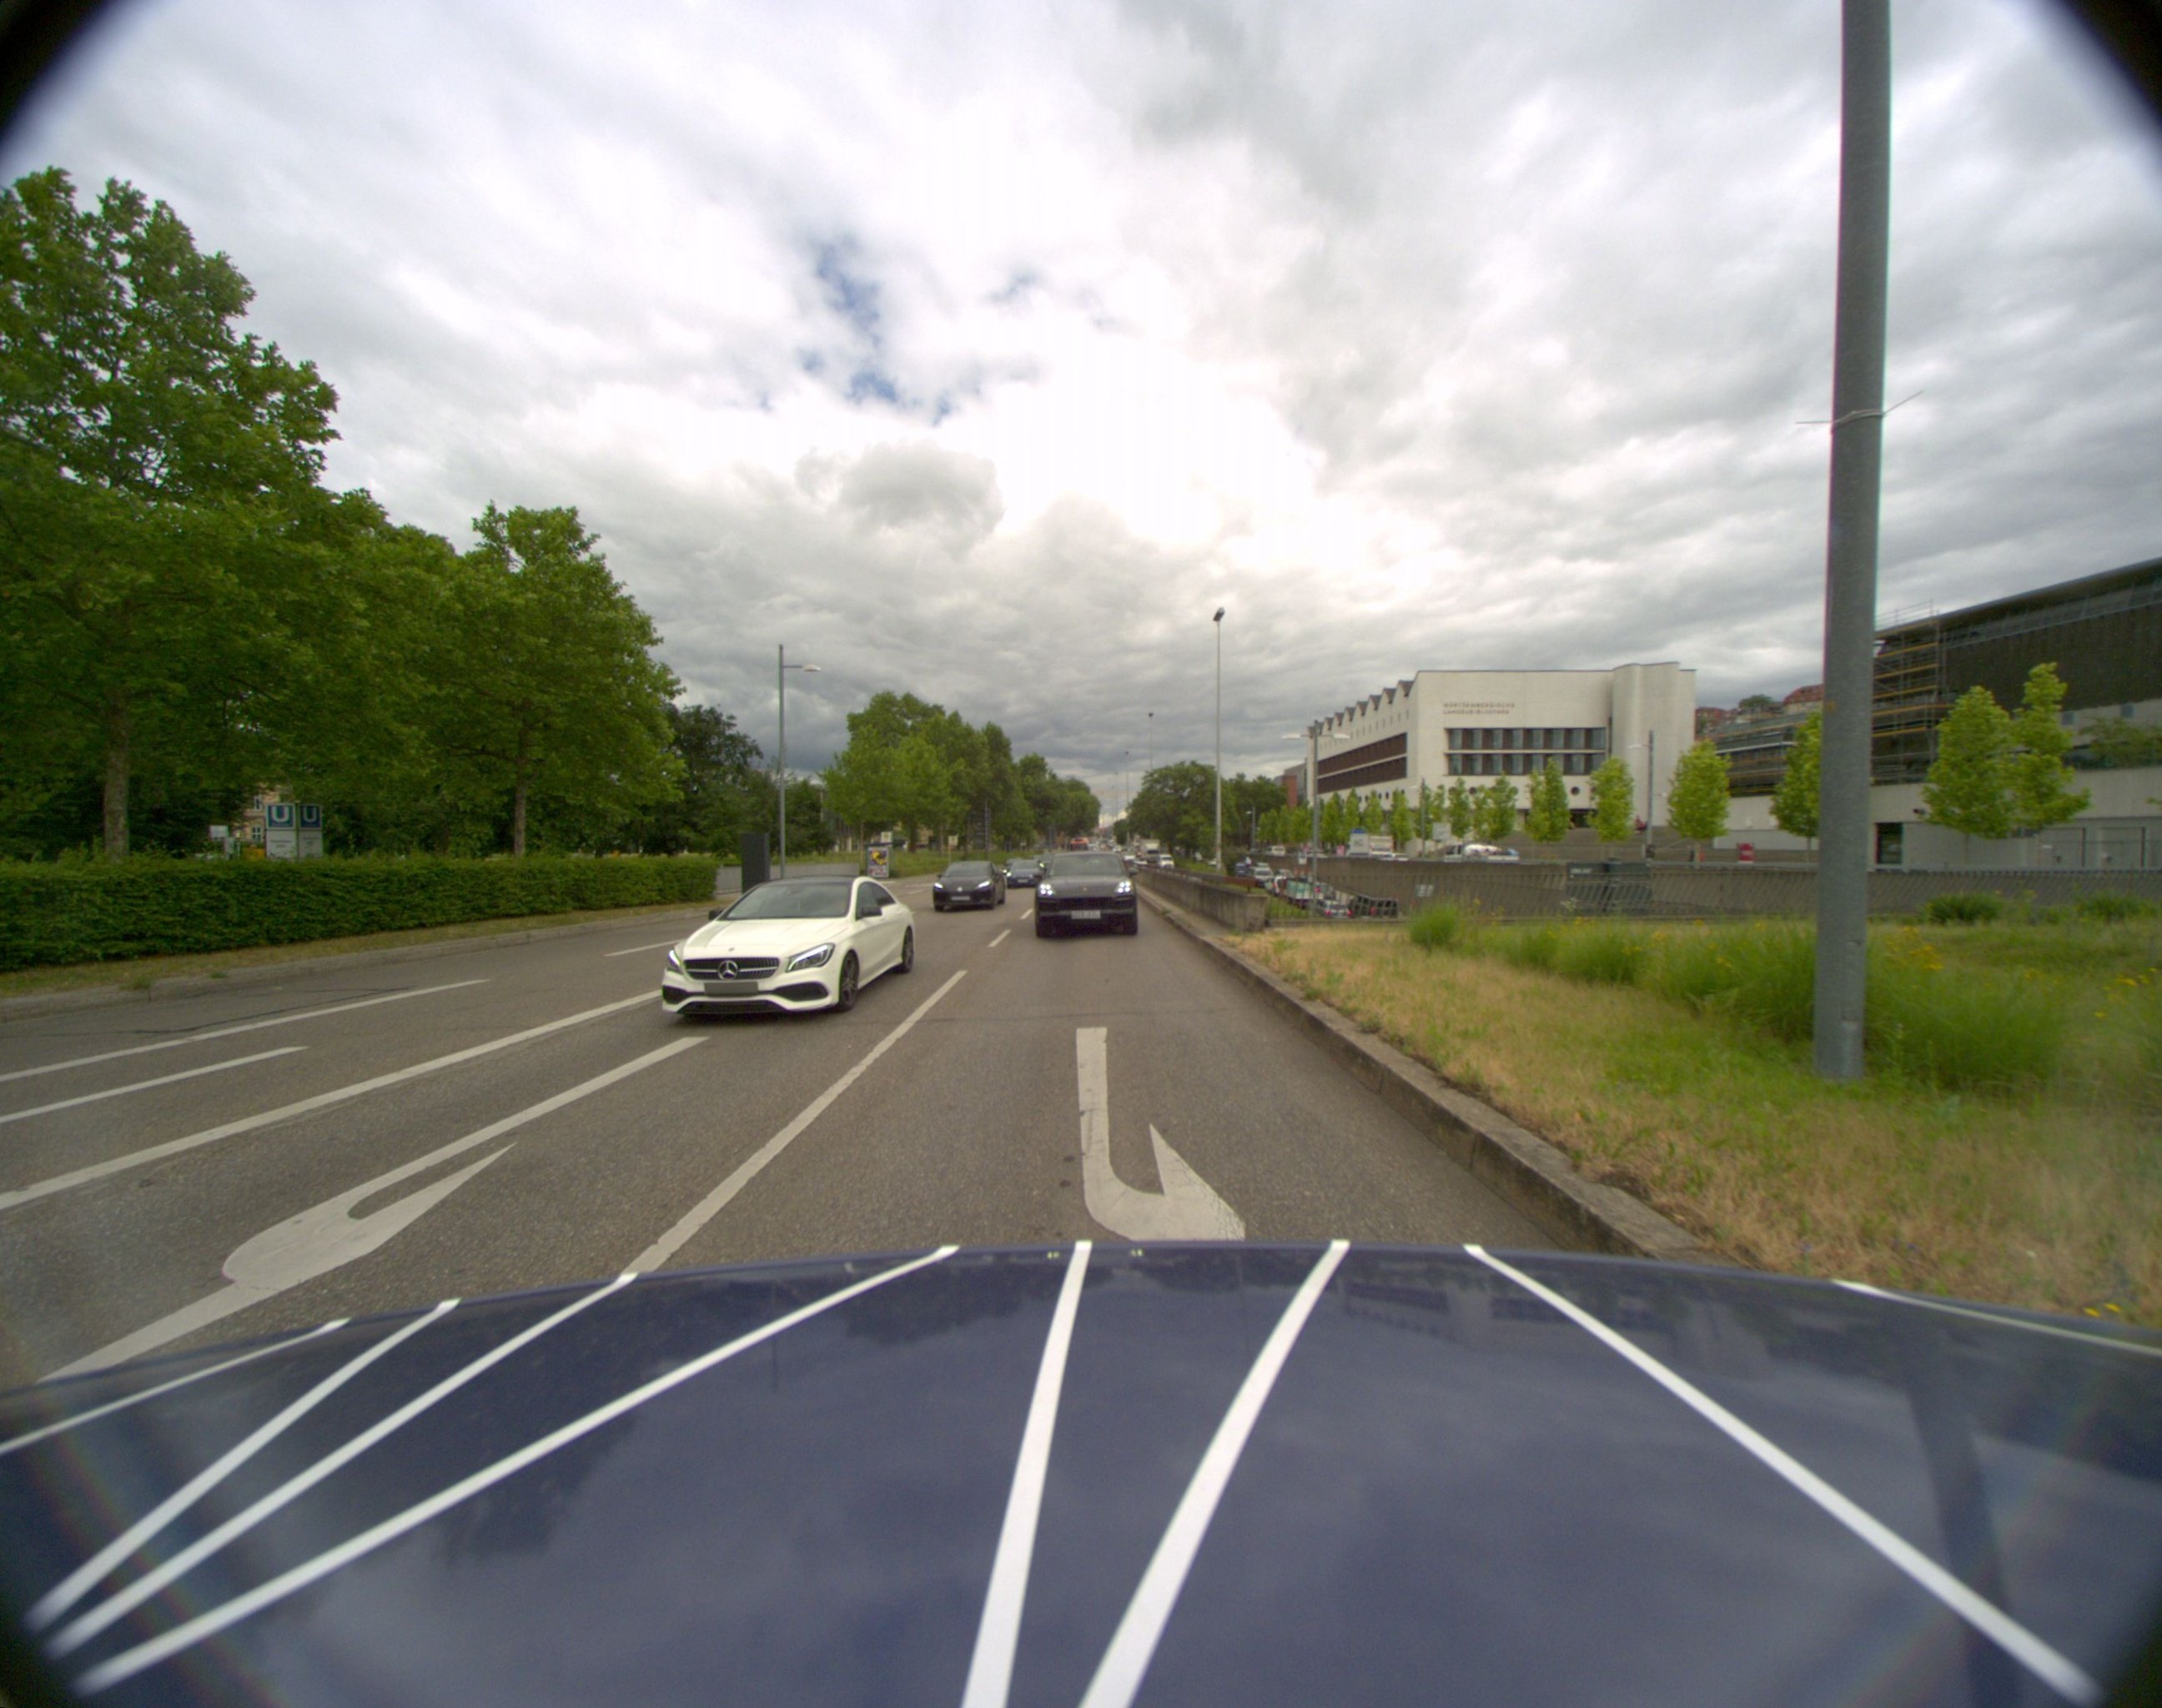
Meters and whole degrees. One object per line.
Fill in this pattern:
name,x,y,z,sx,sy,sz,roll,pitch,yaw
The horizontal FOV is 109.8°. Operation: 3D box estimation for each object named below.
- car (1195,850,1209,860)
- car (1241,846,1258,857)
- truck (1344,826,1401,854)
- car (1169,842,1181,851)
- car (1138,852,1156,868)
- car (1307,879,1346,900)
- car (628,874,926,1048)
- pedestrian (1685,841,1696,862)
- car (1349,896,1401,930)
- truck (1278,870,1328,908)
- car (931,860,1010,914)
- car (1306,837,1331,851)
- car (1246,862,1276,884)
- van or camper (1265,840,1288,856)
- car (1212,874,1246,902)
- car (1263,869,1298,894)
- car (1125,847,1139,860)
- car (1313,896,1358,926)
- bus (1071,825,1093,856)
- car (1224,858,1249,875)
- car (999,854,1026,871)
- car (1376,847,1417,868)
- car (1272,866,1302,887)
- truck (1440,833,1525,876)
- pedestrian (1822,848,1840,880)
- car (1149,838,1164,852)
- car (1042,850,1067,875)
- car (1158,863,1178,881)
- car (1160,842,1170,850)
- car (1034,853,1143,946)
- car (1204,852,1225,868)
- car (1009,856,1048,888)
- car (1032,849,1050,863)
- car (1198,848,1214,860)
car,18.643,0.161,117.452,1.675,1.477,3.361,0,1,1
car,28.186,-0.375,126.889,1.998,1.805,4.000,-1,0,1
truck,31.534,-1.432,82.651,3.239,2.771,7.252,-1,0,-1
car,21.026,-1.714,170.044,1.998,2.002,3.999,-2,1,0
car,8.580,0.826,99.346,1.998,2.002,4.000,0,0,1
car,20.996,2.988,65.136,1.998,1.543,4.000,-2,1,0
car,-3.268,1.045,9.265,1.723,1.415,4.505,-1,1,1
pedestrian,43.140,-0.176,53.808,0.381,1.513,0.461,-2,1,-6
car,20.367,4.082,52.866,1.998,1.944,4.229,-2,1,0
truck,17.595,2.716,60.647,2.324,2.675,5.979,-1,0,1
car,-3.436,0.976,24.343,1.829,1.515,4.120,-1,0,1
car,28.151,-1.193,90.092,1.723,1.565,4.271,-1,0,2
car,17.954,1.910,76.076,1.998,2.002,4.333,2,0,1
van or camper,27.218,-0.820,105.959,1.998,2.002,4.557,-1,0,1
car,11.710,2.652,60.425,1.998,2.002,4.000,-1,0,1
car,17.849,2.464,68.206,1.998,2.002,4.000,2,0,1
car,7.945,0.004,118.584,1.998,2.002,4.000,0,0,1
car,17.743,3.944,53.109,1.794,1.805,3.927,-1,0,0
bus,0.079,-1.907,110.363,3.043,4.327,8.748,-1,1,0
car,17.729,1.423,86.651,1.998,1.733,4.281,2,0,1
car,-6.021,0.709,66.881,1.867,1.412,4.000,-2,1,1
car,28.498,0.340,68.732,1.998,1.805,4.258,-1,0,1
car,21.557,2.332,79.783,1.998,2.002,4.000,2,0,1
truck,28.422,0.050,54.122,2.469,2.800,7.079,-1,0,2
pedestrian,35.662,0.479,36.130,0.428,1.513,0.461,-2,1,-6
car,11.616,-1.412,116.037,1.997,2.002,4.002,-2,1,9
car,-2.073,0.646,60.499,1.723,1.851,4.430,-1,1,1
car,10.604,2.203,92.995,1.998,2.002,4.000,-1,0,1
car,17.672,-1.704,159.726,1.675,1.477,3.361,-1,0,1
car,0.164,0.820,16.043,1.937,1.668,4.679,-1,0,1
car,18.359,0.852,104.659,1.998,2.119,4.852,2,0,1
car,-2.710,0.887,39.896,1.573,1.528,4.001,-1,1,2
car,-4.425,0.204,84.560,1.723,1.528,4.001,-1,1,1
car,21.278,0.019,129.127,1.998,2.002,4.655,-1,0,1
